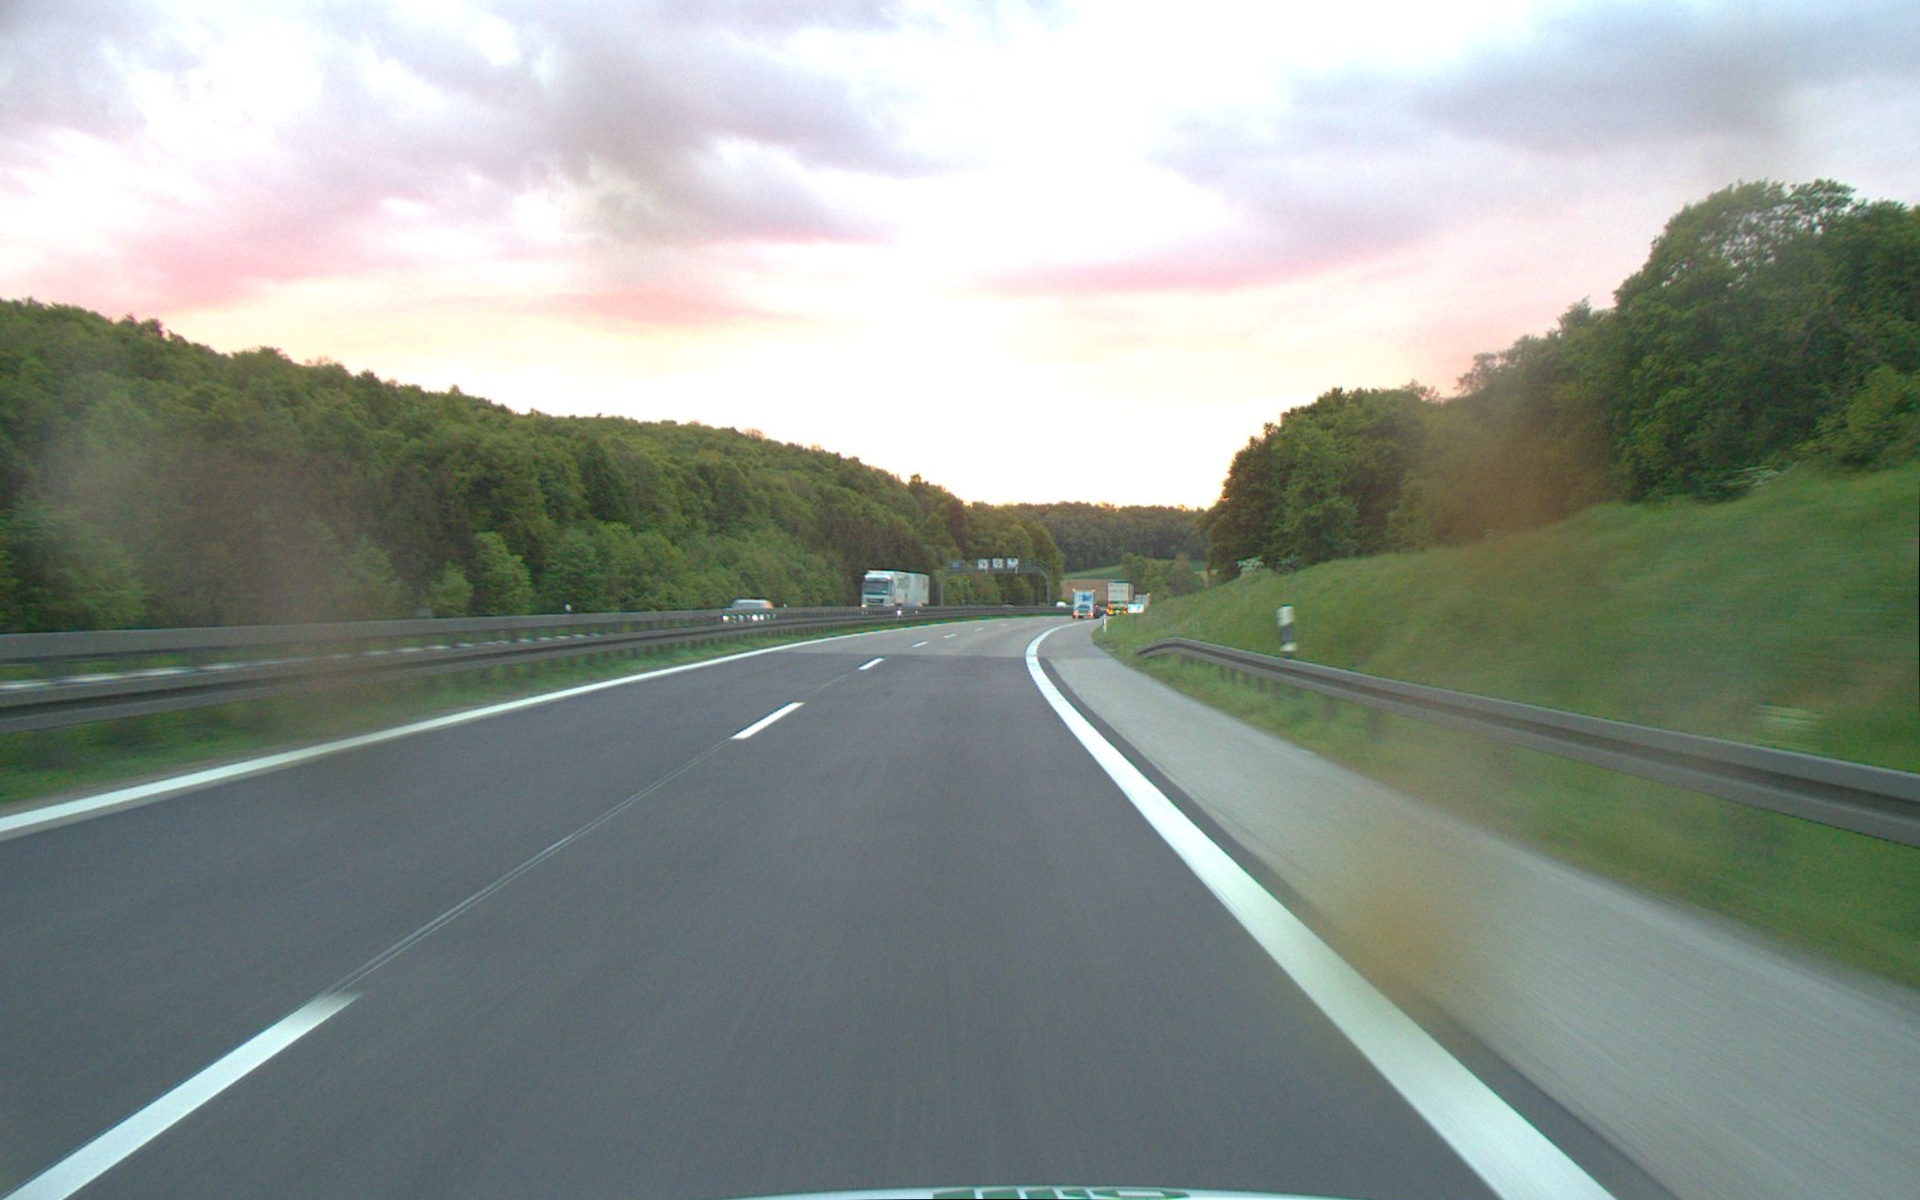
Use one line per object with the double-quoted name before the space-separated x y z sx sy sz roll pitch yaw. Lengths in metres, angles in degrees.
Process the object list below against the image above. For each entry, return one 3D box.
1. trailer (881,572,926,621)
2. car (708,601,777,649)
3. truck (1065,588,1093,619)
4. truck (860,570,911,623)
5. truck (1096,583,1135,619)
"trailer" -5.124 -0.294 152.735 2.771 4.393 9.300 0 0 7
"car" -9.851 1.104 75.364 1.951 2.049 5.172 -2 0 5
"truck" 11.214 0.295 155.864 2.227 2.711 5.241 -2 2 8
"truck" -6.387 -0.286 143.110 2.804 4.356 10.073 0 0 7
"truck" 20.026 0.073 212.155 3.873 4.362 14.336 -1 0 9
